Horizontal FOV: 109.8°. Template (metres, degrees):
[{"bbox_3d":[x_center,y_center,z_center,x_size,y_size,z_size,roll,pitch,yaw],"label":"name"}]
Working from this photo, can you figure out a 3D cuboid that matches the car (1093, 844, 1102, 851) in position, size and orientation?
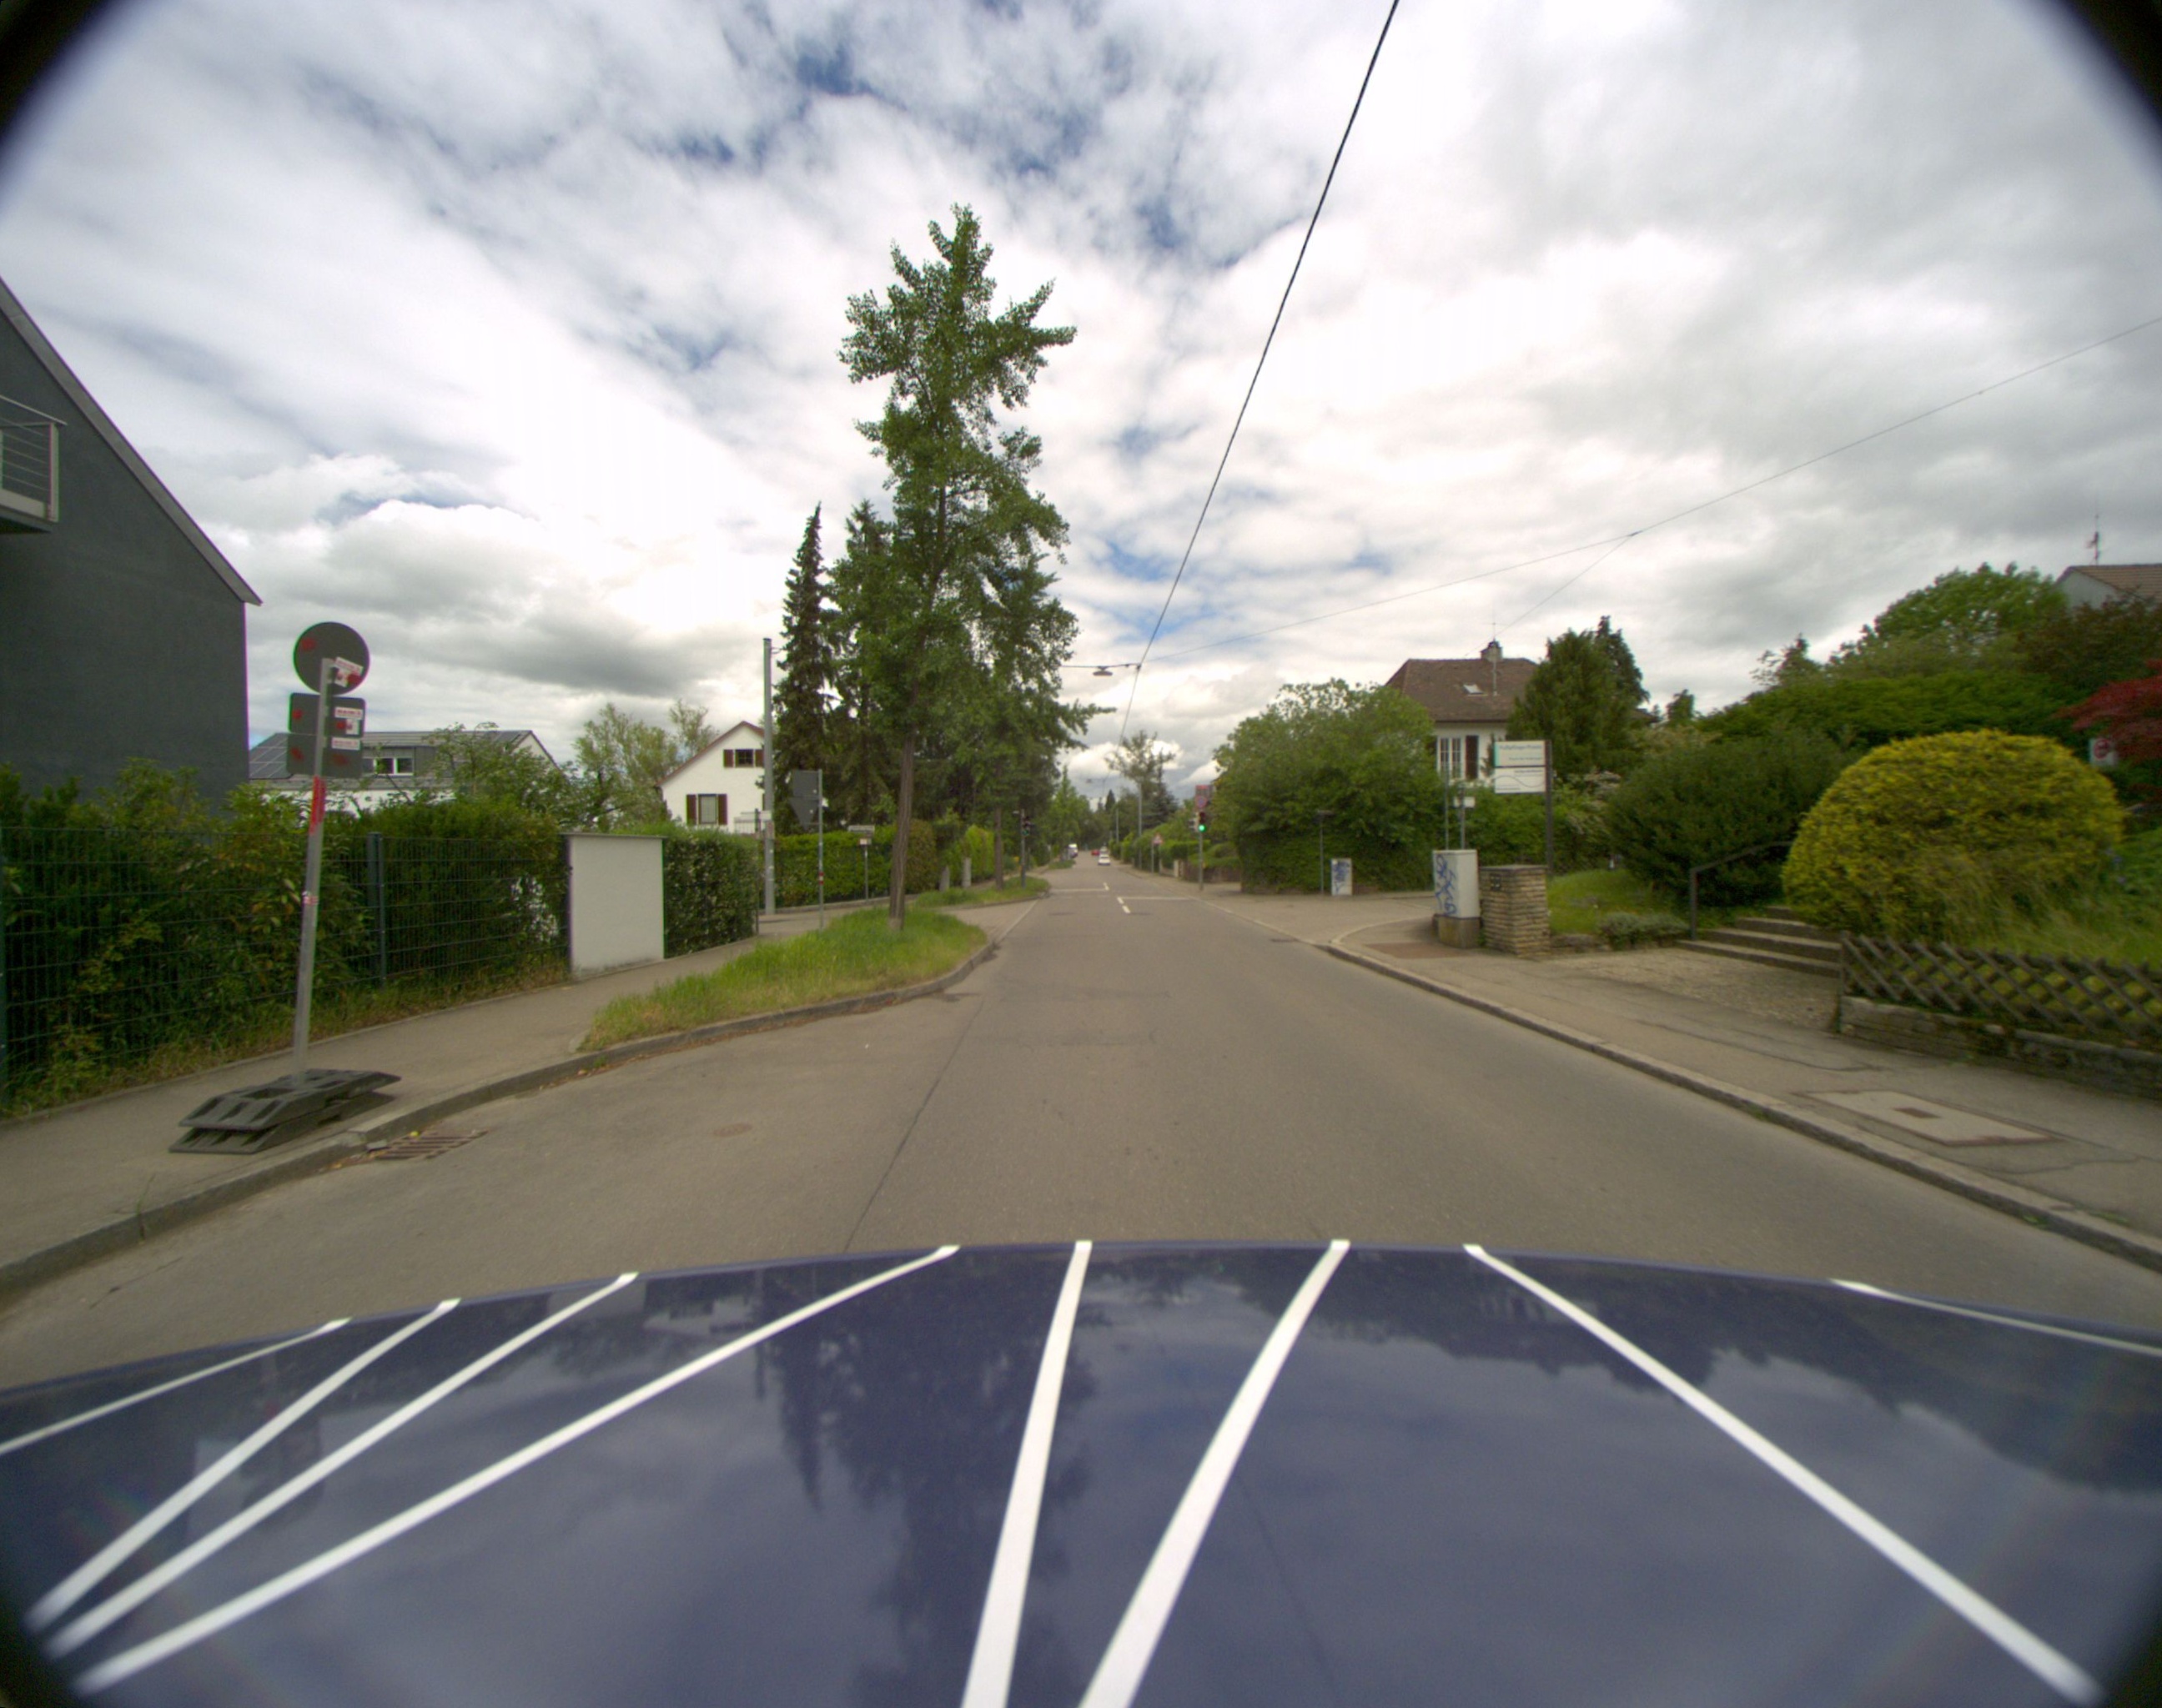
[{"bbox_3d":[3.740,-1.403,169.722,1.810,1.423,4.117,2,1,-1],"label":"car"}]

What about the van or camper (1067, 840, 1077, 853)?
[{"bbox_3d":[-2.001,-1.704,165.919,2.046,2.605,7.035,-2,2,-1],"label":"van or camper"}]

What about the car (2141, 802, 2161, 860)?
[{"bbox_3d":[29.559,-0.682,18.752,3.995,1.479,1.744,-3,0,6],"label":"car"}]

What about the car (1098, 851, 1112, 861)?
[{"bbox_3d":[3.597,0.248,113.251,1.859,1.443,4.281,1,0,-1],"label":"car"}]

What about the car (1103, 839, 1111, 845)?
[{"bbox_3d":[6.910,-3.203,202.592,1.810,1.423,4.300,0,1,0],"label":"car"}]
